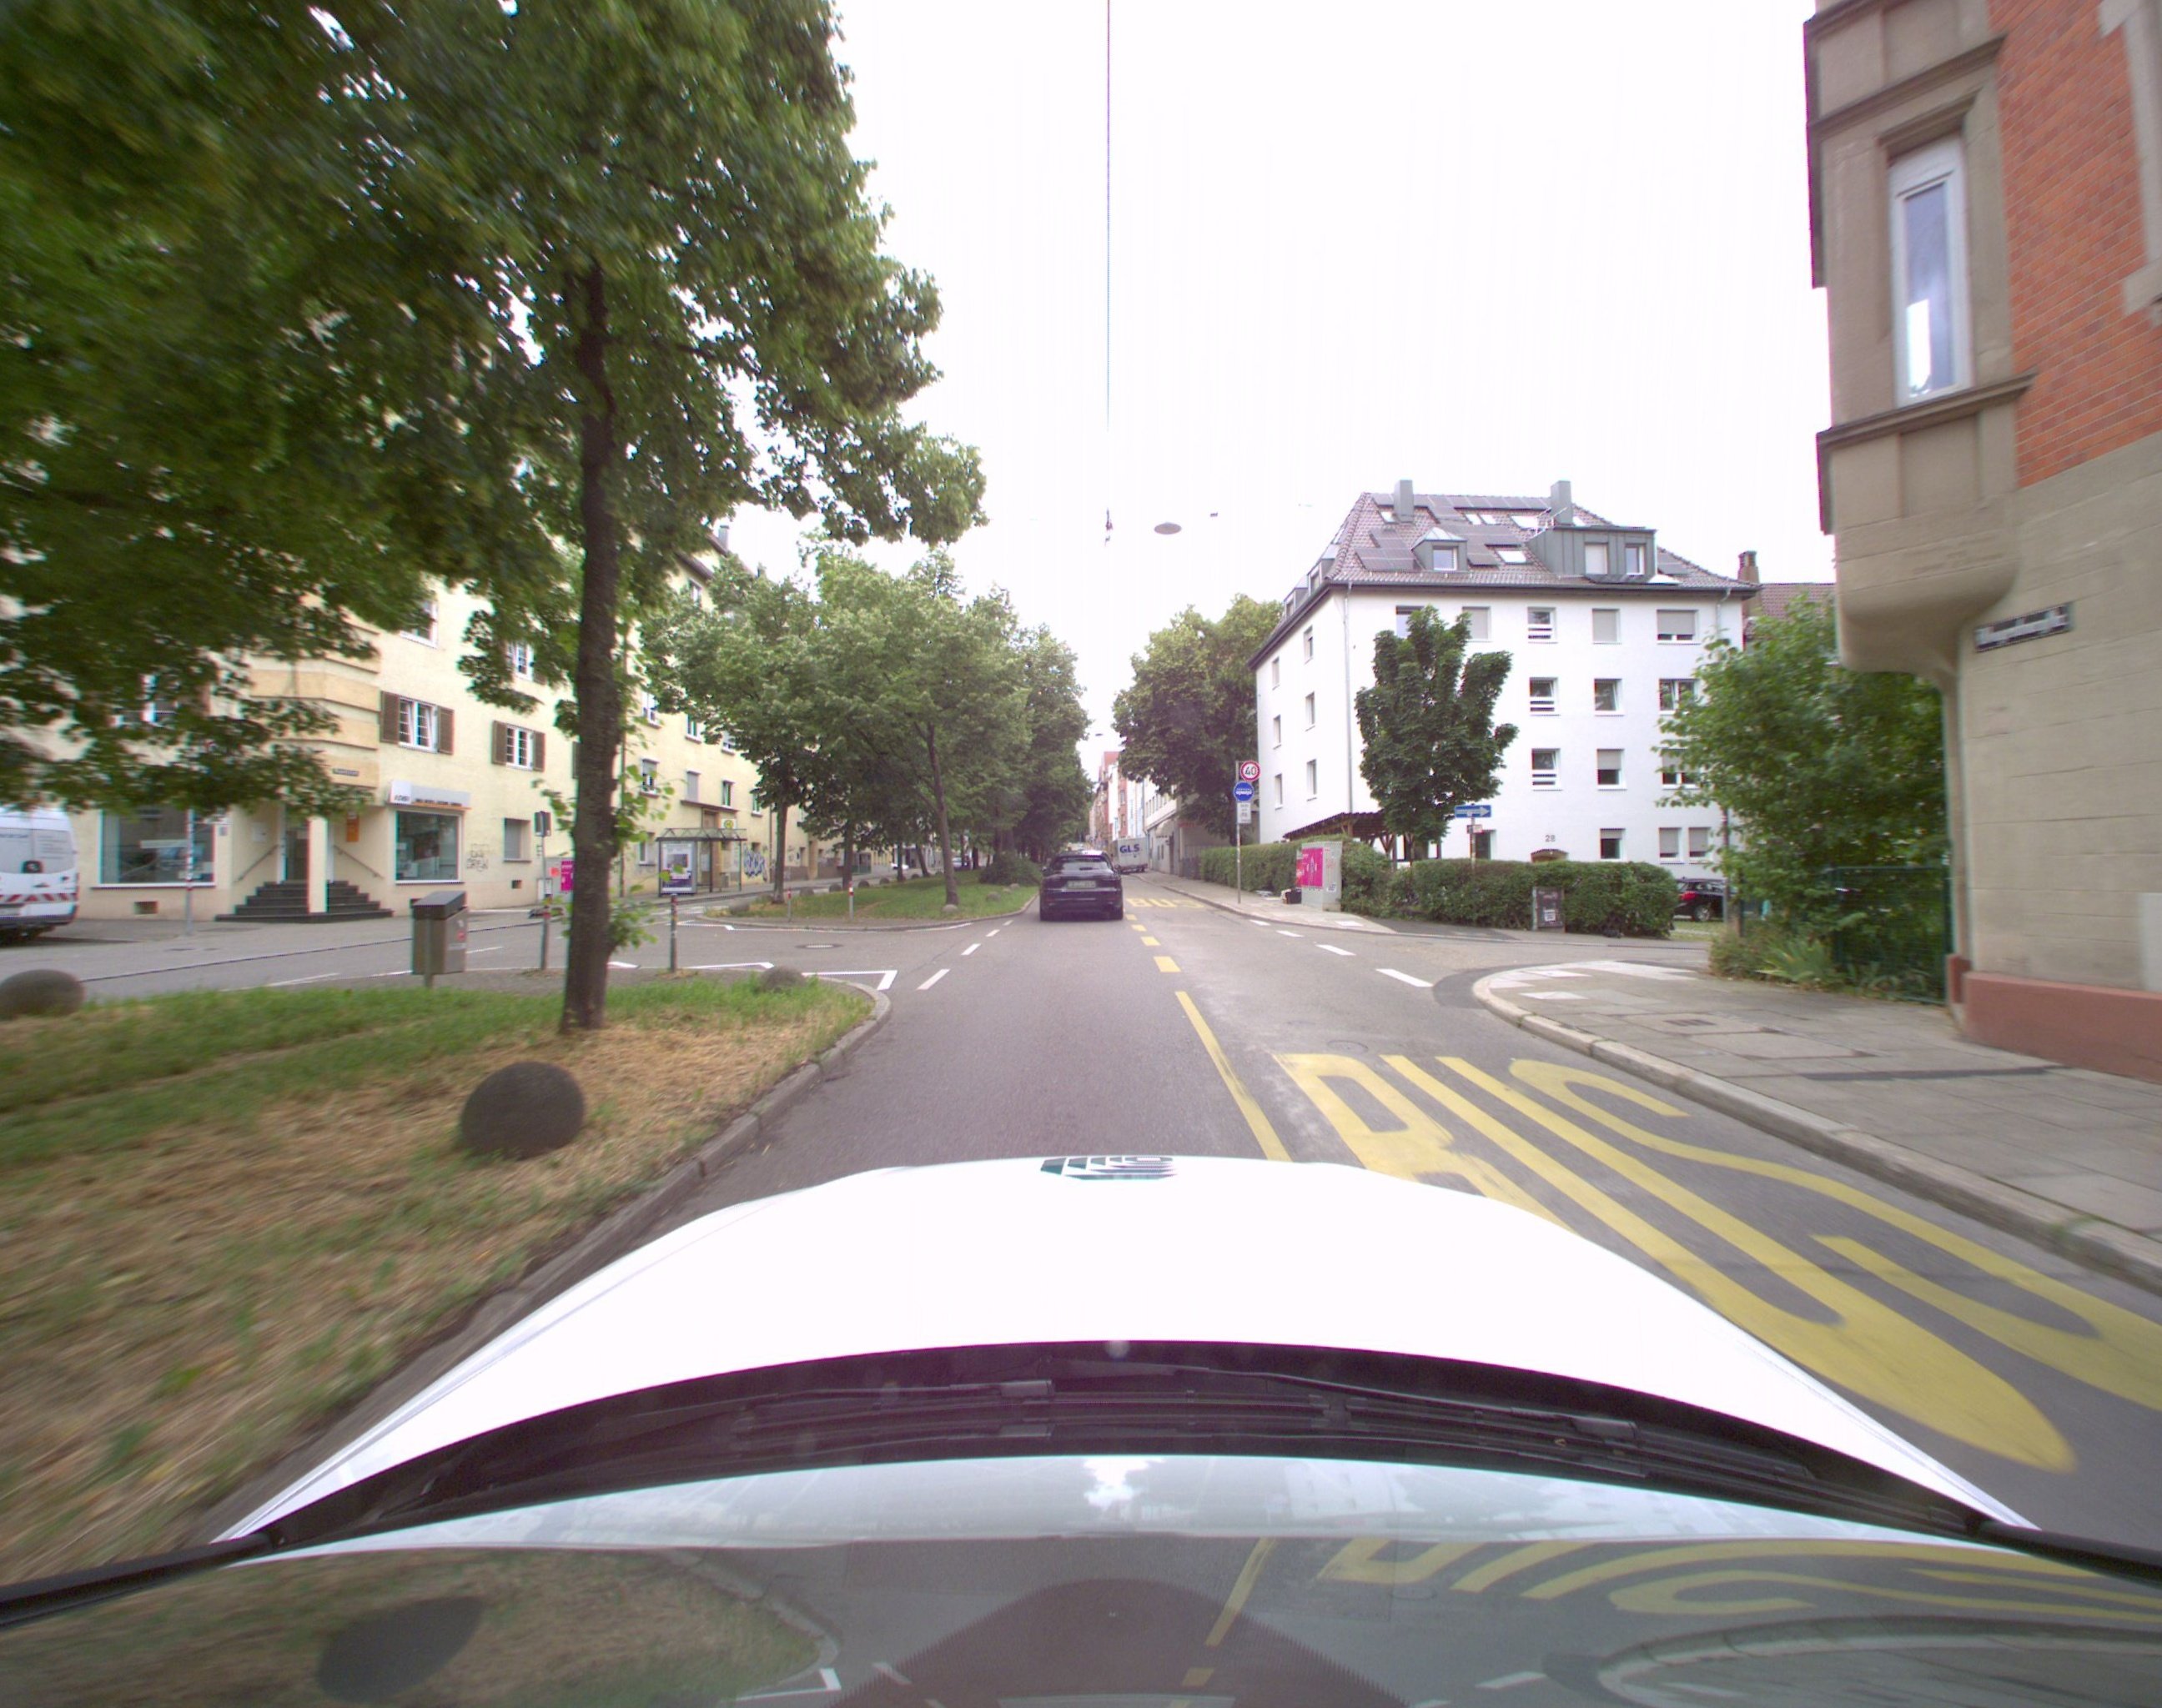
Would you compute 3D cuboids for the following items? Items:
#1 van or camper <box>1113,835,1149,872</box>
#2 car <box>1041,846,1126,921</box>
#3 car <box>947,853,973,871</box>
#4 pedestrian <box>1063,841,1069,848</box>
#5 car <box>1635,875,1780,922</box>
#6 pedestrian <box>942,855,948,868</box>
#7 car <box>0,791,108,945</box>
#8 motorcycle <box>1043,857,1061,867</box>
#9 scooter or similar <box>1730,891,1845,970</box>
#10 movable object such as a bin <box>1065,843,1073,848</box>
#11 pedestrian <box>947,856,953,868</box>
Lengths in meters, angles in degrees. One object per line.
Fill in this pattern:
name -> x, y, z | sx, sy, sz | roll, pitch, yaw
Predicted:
van or camper -> 4.018, -0.031, 66.680 | 2.472, 2.803, 7.237 | -1, 0, 0
car -> -0.013, 0.669, 20.437 | 1.898, 1.666, 4.132 | -1, 0, -2
car -> -12.667, 0.788, 85.414 | 1.944, 1.628, 4.362 | -7, 0, -2
pedestrian -> -4.178, -2.591, 221.705 | 1.312, 2.014, 1.008 | 0, -1, -41
car -> 22.593, 1.570, 29.427 | 3.987, 1.552, 1.993 | 0, 0, -10
pedestrian -> -17.439, 0.993, 104.313 | 0.631, 1.613, 0.765 | 0, 0, 5
car -> -21.835, 0.232, 14.705 | 5.175, 2.736, 2.168 | 0, 0, -12
motorcycle -> -3.823, 1.018, 106.626 | 2.349, 1.235, 1.033 | -1, 1, -3
scooter or similar -> 9.557, 1.026, 11.031 | 1.230, 1.016, 0.415 | 1, -1, -1
movable object such as a bin -> -3.315, -2.249, 220.662 | 1.248, 1.274, 1.823 | 0, 0, -44
pedestrian -> -17.054, 1.011, 106.248 | 0.660, 1.616, 0.579 | 0, 0, 1
